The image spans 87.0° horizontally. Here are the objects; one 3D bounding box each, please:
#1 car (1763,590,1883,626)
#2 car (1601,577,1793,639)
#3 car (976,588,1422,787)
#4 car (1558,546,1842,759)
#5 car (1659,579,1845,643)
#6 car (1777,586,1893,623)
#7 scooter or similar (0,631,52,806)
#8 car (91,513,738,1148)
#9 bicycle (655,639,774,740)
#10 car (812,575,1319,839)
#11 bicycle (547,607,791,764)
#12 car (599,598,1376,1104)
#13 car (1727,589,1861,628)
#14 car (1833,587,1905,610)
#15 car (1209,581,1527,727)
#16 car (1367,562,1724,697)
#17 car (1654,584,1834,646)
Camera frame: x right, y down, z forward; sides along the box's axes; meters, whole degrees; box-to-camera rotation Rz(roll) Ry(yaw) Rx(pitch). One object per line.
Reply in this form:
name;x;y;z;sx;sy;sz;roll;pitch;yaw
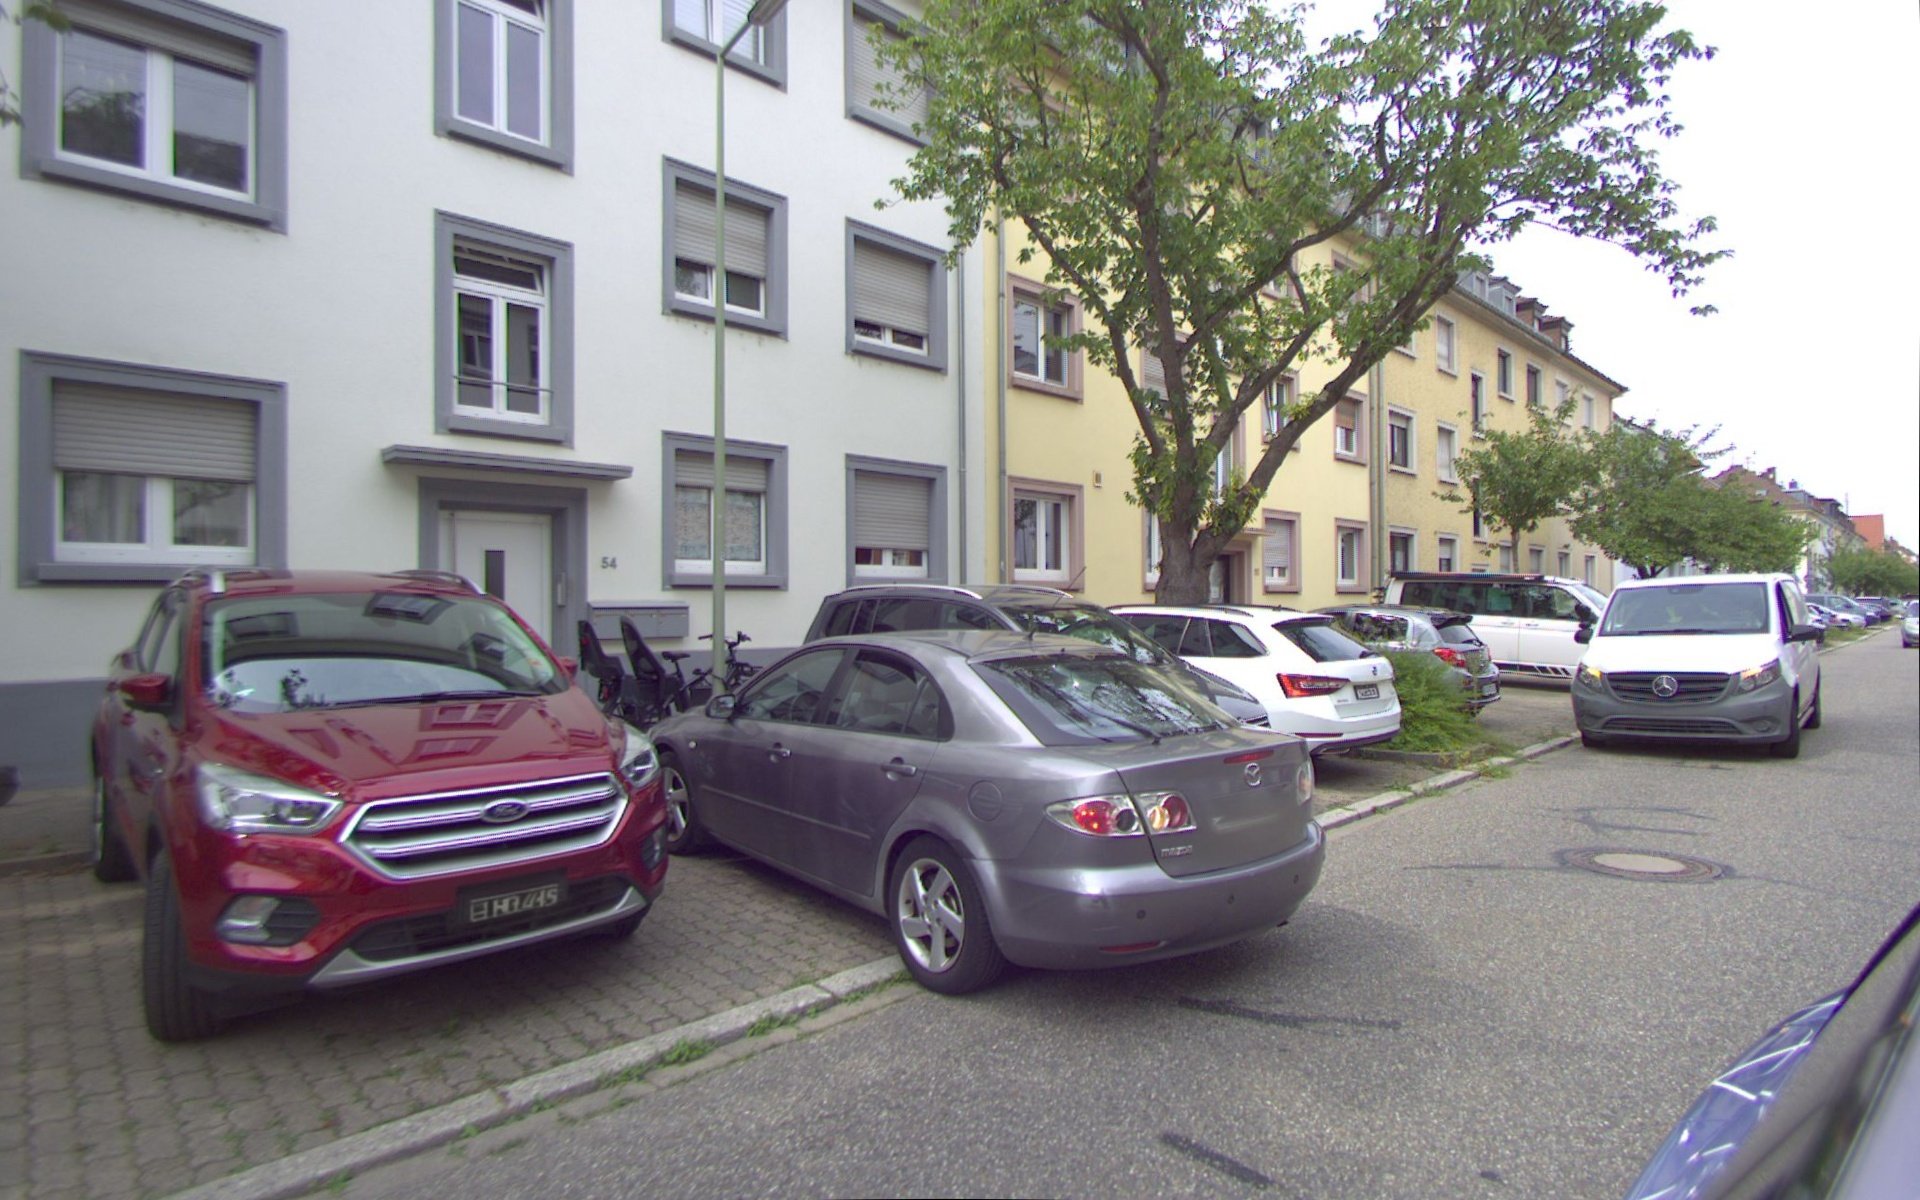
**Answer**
car;42.884;0.362;50.361;1.840;1.555;4.397;-1;2;-44
car;21.562;0.164;29.734;1.820;1.617;4.312;-1;2;-44
car;2.126;0.654;9.840;1.611;1.437;3.991;-1;2;-44
car;8.628;0.473;11.618;1.993;1.939;4.630;-3;-1;44
car;26.765;0.310;34.312;1.820;1.933;4.743;-1;2;-44
car;48.588;0.190;56.289;1.840;1.849;4.712;-1;2;-44
scooter or similar;-6.899;0.818;6.758;1.231;1.162;0.364;-1;2;-41
car;-2.955;0.532;4.908;1.871;1.698;4.222;-1;2;-41
bicycle;-2.701;0.962;11.200;1.279;1.007;0.358;0;0;-44
car;0.634;0.611;8.208;1.611;1.555;3.991;-1;2;-44
bicycle;-2.575;0.696;9.237;0.649;1.233;2.198;0;0;37
car;-0.178;0.802;5.286;1.737;1.473;3.991;-1;2;-44
car;36.525;0.326;44.413;1.683;1.518;4.395;-1;2;-45
car;59.336;-0.110;66.117;3.430;1.465;1.621;-1;-1;43
car;5.306;0.582;13.414;1.785;1.593;3.481;-1;2;-44
car;10.338;0.369;18.184;5.227;2.048;2.042;3;2;42
car;25.025;0.407;32.407;1.820;1.704;4.312;-3;4;-44
